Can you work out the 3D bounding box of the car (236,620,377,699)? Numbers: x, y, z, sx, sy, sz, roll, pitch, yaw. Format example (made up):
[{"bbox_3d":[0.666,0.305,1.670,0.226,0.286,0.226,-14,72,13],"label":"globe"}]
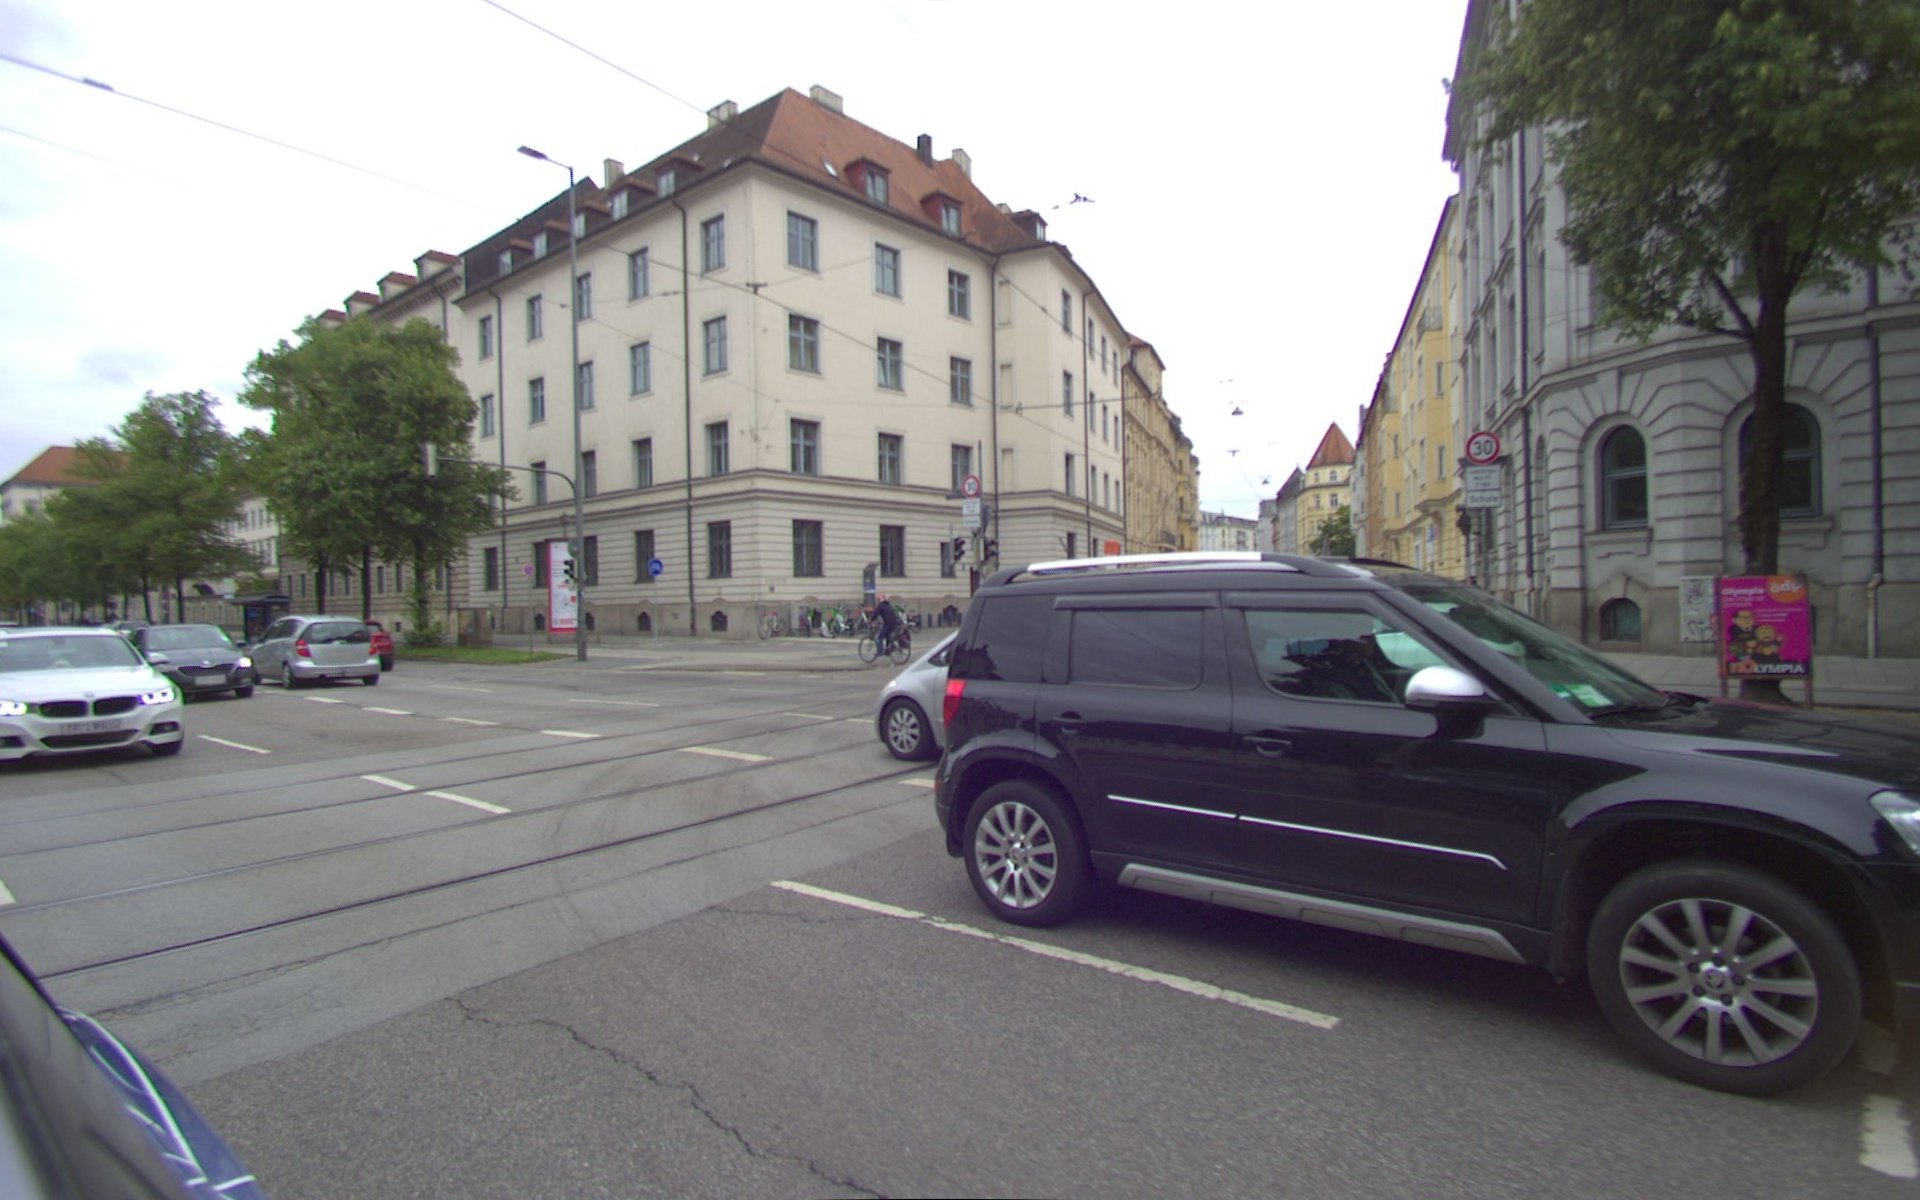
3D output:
[{"bbox_3d":[-14.670,1.306,22.645,3.943,1.583,1.617,-3,-2,41],"label":"car"}]

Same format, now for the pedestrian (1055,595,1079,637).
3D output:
[{"bbox_3d":[4.957,0.745,46.907,0.660,1.866,0.797,-2,0,41],"label":"pedestrian"}]

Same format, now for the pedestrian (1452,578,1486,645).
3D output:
[{"bbox_3d":[15.853,0.350,31.540,0.797,2.029,0.775,-2,0,20],"label":"pedestrian"}]

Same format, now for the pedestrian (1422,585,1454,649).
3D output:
[{"bbox_3d":[15.697,0.549,33.237,0.797,2.029,0.775,-2,0,20],"label":"pedestrian"}]

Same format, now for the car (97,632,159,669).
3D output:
[{"bbox_3d":[-40.041,2.424,48.697,4.162,1.652,1.661,-3,-2,41],"label":"car"}]

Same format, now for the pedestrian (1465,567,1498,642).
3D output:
[{"bbox_3d":[14.476,0.123,28.124,0.661,2.029,0.576,-2,0,20],"label":"pedestrian"}]

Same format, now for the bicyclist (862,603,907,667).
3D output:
[{"bbox_3d":[-1.947,0.896,26.162,0.892,1.590,0.653,-2,0,41],"label":"bicyclist"}]

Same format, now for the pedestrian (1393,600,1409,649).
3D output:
[{"bbox_3d":[16.959,0.955,38.905,0.499,1.869,0.467,-2,-1,21],"label":"pedestrian"}]

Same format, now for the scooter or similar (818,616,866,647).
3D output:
[{"bbox_3d":[-4.528,1.200,38.830,1.947,1.127,0.681,-2,0,41],"label":"scooter or similar"}]

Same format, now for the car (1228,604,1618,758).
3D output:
[{"bbox_3d":[5.607,0.906,12.549,4.054,1.588,1.717,-2,-1,41],"label":"car"}]

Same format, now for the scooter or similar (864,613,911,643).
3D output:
[{"bbox_3d":[-2.900,1.118,40.428,1.901,1.166,0.681,-2,0,41],"label":"scooter or similar"}]

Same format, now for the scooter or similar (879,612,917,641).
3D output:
[{"bbox_3d":[-2.527,1.088,41.146,1.546,1.127,0.539,-2,0,41],"label":"scooter or similar"}]

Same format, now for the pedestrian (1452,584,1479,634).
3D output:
[{"bbox_3d":[16.569,0.282,33.177,0.643,1.607,0.573,-2,0,20],"label":"pedestrian"}]

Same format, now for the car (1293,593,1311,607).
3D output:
[{"bbox_3d":[40.590,-0.008,120.147,1.984,1.608,3.698,-2,-1,19],"label":"car"}]

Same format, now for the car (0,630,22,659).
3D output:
[{"bbox_3d":[-55.359,2.569,58.214,4.373,1.598,1.704,-2,-1,43],"label":"car"}]

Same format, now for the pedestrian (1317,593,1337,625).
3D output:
[{"bbox_3d":[18.509,0.470,51.015,0.857,1.588,0.871,-2,-2,22],"label":"pedestrian"}]

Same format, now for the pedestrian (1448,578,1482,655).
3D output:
[{"bbox_3d":[13.763,0.443,27.593,0.661,2.029,0.775,-2,0,20],"label":"pedestrian"}]

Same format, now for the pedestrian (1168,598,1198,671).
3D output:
[{"bbox_3d":[5.479,0.843,24.860,0.494,1.752,0.471,-1,-1,-31],"label":"pedestrian"}]

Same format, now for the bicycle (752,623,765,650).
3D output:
[{"bbox_3d":[-7.586,1.359,38.113,0.399,0.954,1.281,-2,0,-13],"label":"bicycle"}]

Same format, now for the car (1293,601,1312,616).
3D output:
[{"bbox_3d":[38.743,0.994,114.509,1.984,1.608,3.698,-2,-1,19],"label":"car"}]

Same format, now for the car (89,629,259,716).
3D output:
[{"bbox_3d":[-15.300,1.341,19.623,4.272,1.458,1.774,-2,-1,40],"label":"car"}]

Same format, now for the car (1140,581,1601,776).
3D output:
[{"bbox_3d":[4.034,0.747,10.363,3.999,1.608,1.725,-3,-4,42],"label":"car"}]

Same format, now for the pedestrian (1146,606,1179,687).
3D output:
[{"bbox_3d":[4.788,1.085,23.920,0.494,1.869,0.529,-1,-1,-31],"label":"pedestrian"}]

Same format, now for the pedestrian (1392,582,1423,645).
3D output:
[{"bbox_3d":[14.860,0.449,33.589,0.797,2.029,0.775,-2,0,20],"label":"pedestrian"}]

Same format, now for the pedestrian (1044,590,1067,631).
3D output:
[{"bbox_3d":[4.464,0.478,47.374,0.660,1.866,0.797,-2,0,41],"label":"pedestrian"}]

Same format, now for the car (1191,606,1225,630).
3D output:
[{"bbox_3d":[17.659,1.307,72.019,1.984,1.608,3.698,-2,-1,19],"label":"car"}]

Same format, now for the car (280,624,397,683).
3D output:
[{"bbox_3d":[-18.124,1.517,29.436,4.225,1.541,1.735,-2,-1,41],"label":"car"}]

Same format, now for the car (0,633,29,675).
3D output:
[{"bbox_3d":[-35.465,1.963,36.872,4.272,1.458,1.774,-2,-1,40],"label":"car"}]

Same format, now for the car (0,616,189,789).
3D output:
[{"bbox_3d":[-10.885,1.075,11.974,5.023,1.649,1.774,-2,-1,40],"label":"car"}]

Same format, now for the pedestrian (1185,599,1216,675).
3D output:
[{"bbox_3d":[5.985,0.915,25.192,0.494,1.869,0.471,-1,-1,-31],"label":"pedestrian"}]

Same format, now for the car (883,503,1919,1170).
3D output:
[{"bbox_3d":[1.791,0.619,4.123,4.202,1.649,1.705,-2,-1,40],"label":"car"}]

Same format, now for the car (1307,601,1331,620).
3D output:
[{"bbox_3d":[32.855,0.983,92.746,1.984,1.608,3.698,-2,-1,19],"label":"car"}]

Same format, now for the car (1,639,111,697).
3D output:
[{"bbox_3d":[-25.633,1.866,28.650,4.272,1.458,1.774,-2,-1,40],"label":"car"}]

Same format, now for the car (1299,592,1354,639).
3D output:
[{"bbox_3d":[12.967,0.536,35.723,1.682,1.530,3.547,-2,-1,22],"label":"car"}]

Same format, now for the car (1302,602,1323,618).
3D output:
[{"bbox_3d":[36.552,1.059,105.044,1.984,1.608,3.698,-2,-1,19],"label":"car"}]

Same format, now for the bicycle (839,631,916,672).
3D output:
[{"bbox_3d":[-2.163,1.337,26.360,2.180,0.995,0.655,-2,0,42],"label":"bicycle"}]

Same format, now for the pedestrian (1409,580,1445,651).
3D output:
[{"bbox_3d":[13.551,0.446,29.378,0.797,2.029,0.775,-2,0,20],"label":"pedestrian"}]

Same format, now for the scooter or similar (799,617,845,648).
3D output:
[{"bbox_3d":[-5.222,1.226,38.334,0.680,1.127,1.949,-2,0,-43],"label":"scooter or similar"}]

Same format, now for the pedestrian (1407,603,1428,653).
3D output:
[{"bbox_3d":[17.483,1.066,38.662,0.624,1.869,0.676,-2,-1,20],"label":"pedestrian"}]
